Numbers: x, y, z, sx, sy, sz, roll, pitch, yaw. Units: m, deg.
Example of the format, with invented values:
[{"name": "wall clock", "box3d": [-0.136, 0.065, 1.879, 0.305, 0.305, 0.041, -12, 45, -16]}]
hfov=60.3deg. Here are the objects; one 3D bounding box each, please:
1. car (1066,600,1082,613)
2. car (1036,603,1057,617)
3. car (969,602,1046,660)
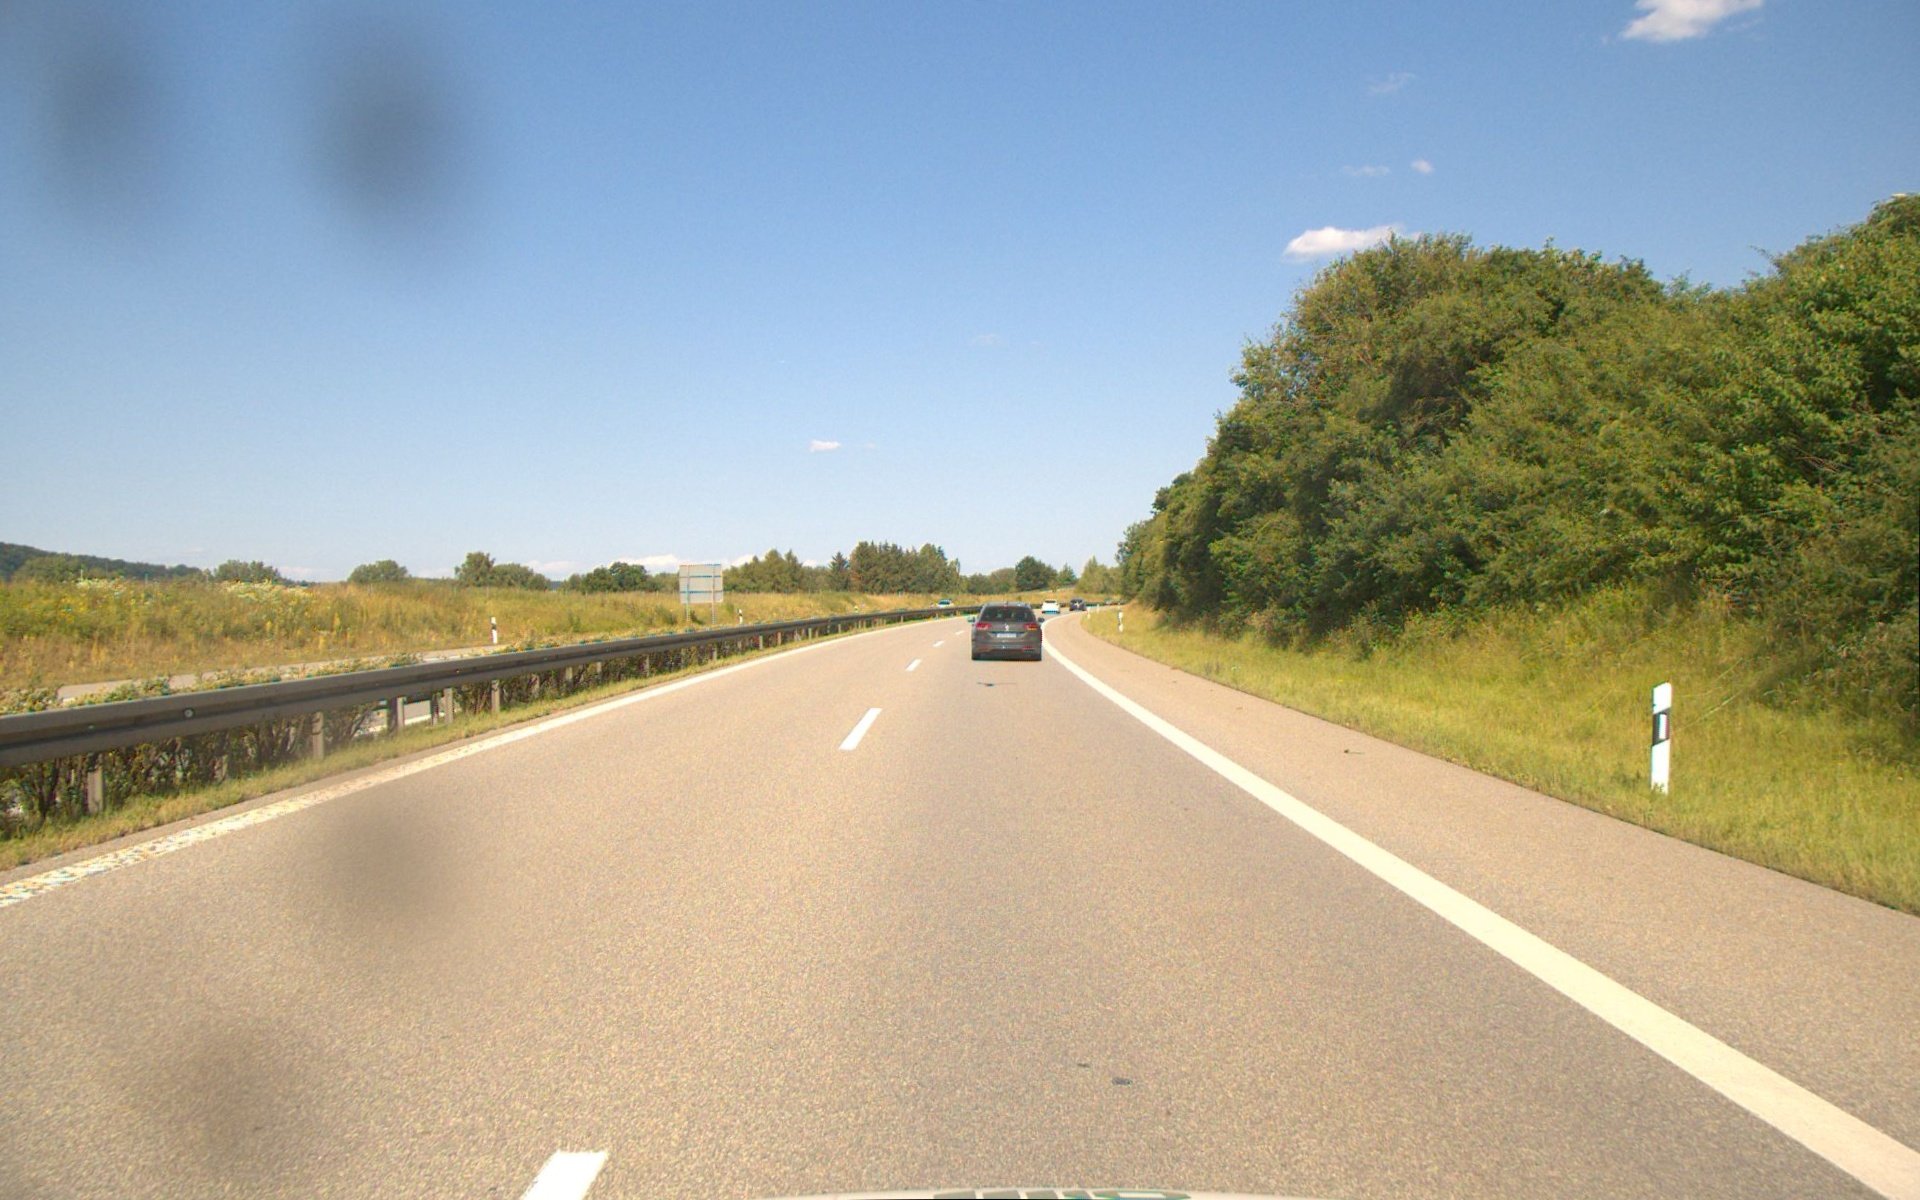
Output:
[{"name": "car", "box3d": [13.919, 0.778, 201.726, 1.674, 1.411, 3.358, 2, -1, 9]}, {"name": "car", "box3d": [8.852, 1.038, 169.468, 1.965, 1.368, 4.000, 2, -1, 2]}, {"name": "car", "box3d": [1.155, 0.759, 41.766, 1.754, 1.368, 3.999, 1, 0, -1]}]
